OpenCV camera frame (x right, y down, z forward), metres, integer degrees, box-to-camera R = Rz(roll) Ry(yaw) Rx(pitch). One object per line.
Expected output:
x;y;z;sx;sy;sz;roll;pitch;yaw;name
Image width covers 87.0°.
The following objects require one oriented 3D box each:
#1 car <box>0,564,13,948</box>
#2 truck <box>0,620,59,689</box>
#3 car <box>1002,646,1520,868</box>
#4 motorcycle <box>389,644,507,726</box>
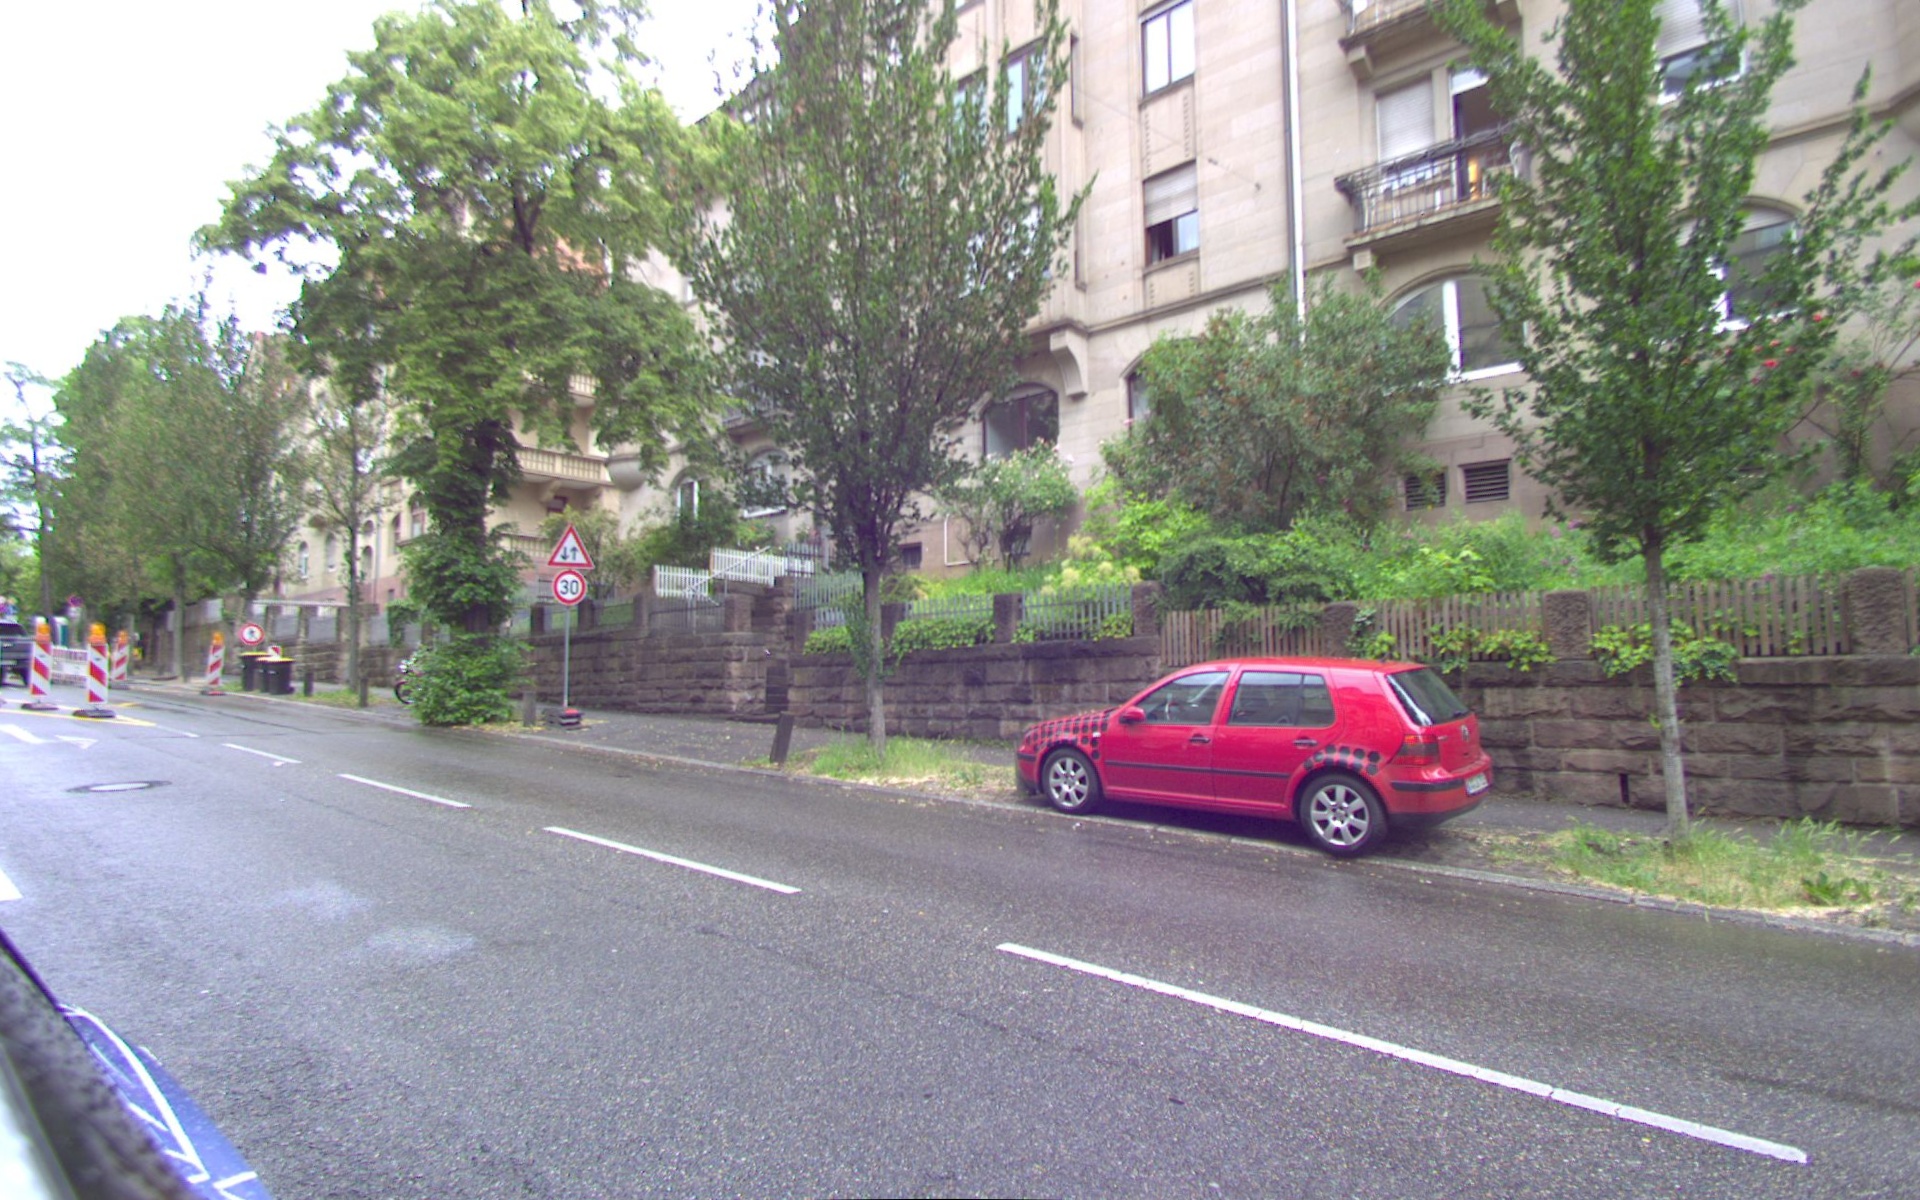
-5.369;0.757;4.118;4.520;1.685;1.799;-2;-3;42;car
-27.613;1.537;28.918;5.150;1.850;2.049;-2;-6;41;truck
2.438;1.155;8.856;4.062;1.462;1.596;-2;-3;42;car
-9.727;1.552;19.146;3.058;1.425;0.792;-2;-2;38;motorcycle
